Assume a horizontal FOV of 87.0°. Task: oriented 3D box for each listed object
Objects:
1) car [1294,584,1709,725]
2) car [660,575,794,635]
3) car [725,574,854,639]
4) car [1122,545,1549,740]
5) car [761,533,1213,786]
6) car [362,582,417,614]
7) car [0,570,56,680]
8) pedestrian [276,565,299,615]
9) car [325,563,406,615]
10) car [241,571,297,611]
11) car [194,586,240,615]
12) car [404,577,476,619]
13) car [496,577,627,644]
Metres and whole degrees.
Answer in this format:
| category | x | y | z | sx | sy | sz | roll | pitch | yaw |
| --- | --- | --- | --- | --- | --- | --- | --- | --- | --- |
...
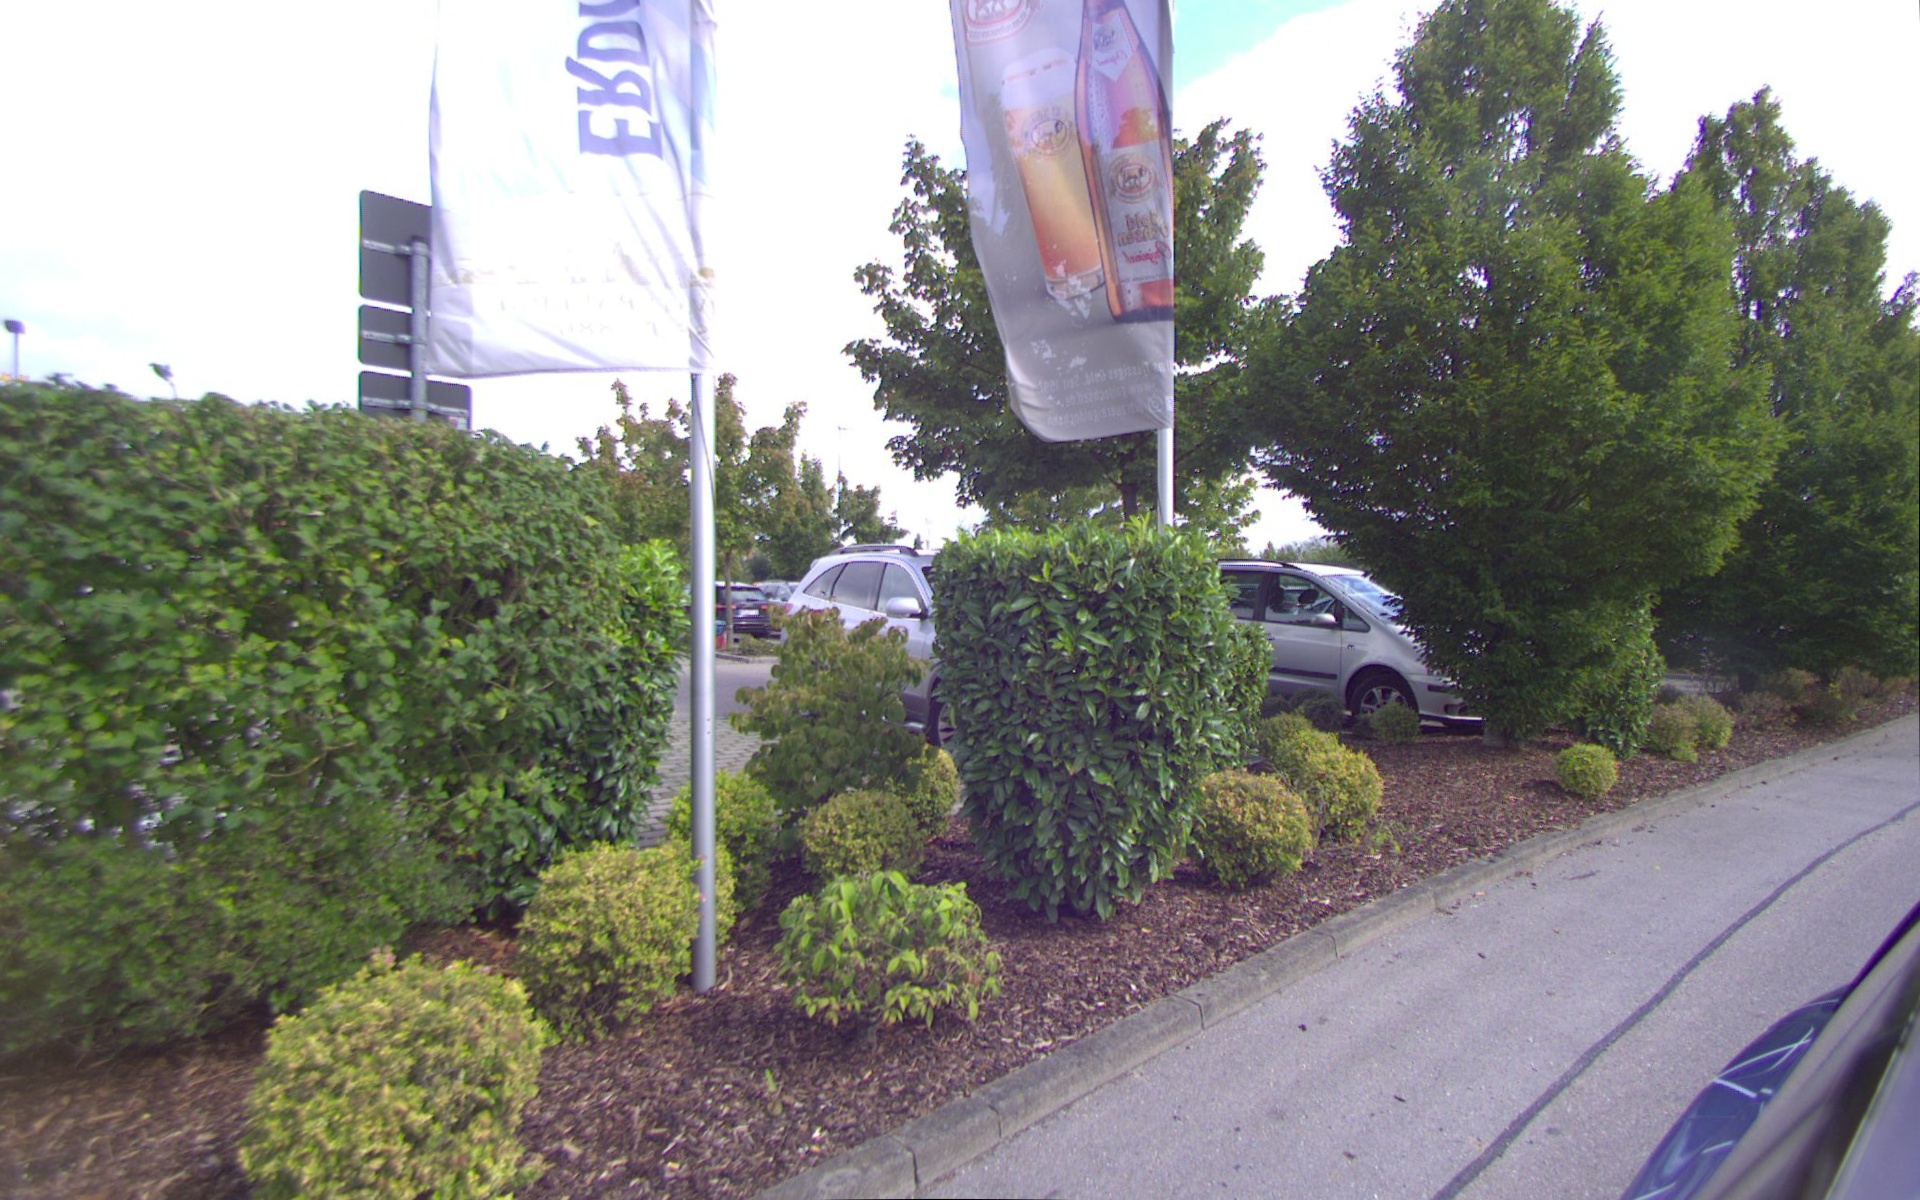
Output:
| category | x | y | z | sx | sy | sz | roll | pitch | yaw |
| --- | --- | --- | --- | --- | --- | --- | --- | --- | --- |
| car | 6.171 | 0.527 | 11.942 | 1.694 | 1.367 | 3.997 | 1 | 0 | -38 |
| car | -5.860 | 0.110 | 25.100 | 1.689 | 1.363 | 4.274 | 1 | 0 | -36 |
| car | -4.637 | 0.166 | 27.129 | 1.961 | 1.591 | 4.001 | 1 | 0 | -33 |
| car | 3.902 | 0.373 | 11.282 | 1.625 | 1.738 | 4.365 | 1 | 0 | -33 |
| car | -0.079 | 0.332 | 9.366 | 1.881 | 1.717 | 4.683 | 0 | 2 | -33 |
| car | -25.676 | -0.106 | 45.512 | 1.502 | 1.391 | 3.473 | 1 | 0 | -40 |
| car | -13.442 | 0.303 | 13.601 | 1.599 | 1.368 | 3.371 | 1 | 0 | -36 |
| pedestrian | -23.437 | -0.353 | 35.273 | 0.489 | 1.747 | 0.416 | 0 | -1 | -5 |
| car | -20.359 | -0.371 | 34.608 | 1.736 | 1.677 | 3.994 | 1 | 0 | -40 |
| car | -31.883 | -0.398 | 46.670 | 1.736 | 1.742 | 3.994 | 1 | 0 | -40 |
| car | -40.670 | 0.030 | 55.382 | 1.755 | 1.564 | 3.994 | 1 | 0 | -40 |
| car | -18.294 | -0.081 | 35.537 | 1.502 | 1.391 | 3.473 | 1 | 0 | -40 |
| car | -9.042 | 0.206 | 22.778 | 1.689 | 1.363 | 4.274 | 1 | 0 | -36 |
